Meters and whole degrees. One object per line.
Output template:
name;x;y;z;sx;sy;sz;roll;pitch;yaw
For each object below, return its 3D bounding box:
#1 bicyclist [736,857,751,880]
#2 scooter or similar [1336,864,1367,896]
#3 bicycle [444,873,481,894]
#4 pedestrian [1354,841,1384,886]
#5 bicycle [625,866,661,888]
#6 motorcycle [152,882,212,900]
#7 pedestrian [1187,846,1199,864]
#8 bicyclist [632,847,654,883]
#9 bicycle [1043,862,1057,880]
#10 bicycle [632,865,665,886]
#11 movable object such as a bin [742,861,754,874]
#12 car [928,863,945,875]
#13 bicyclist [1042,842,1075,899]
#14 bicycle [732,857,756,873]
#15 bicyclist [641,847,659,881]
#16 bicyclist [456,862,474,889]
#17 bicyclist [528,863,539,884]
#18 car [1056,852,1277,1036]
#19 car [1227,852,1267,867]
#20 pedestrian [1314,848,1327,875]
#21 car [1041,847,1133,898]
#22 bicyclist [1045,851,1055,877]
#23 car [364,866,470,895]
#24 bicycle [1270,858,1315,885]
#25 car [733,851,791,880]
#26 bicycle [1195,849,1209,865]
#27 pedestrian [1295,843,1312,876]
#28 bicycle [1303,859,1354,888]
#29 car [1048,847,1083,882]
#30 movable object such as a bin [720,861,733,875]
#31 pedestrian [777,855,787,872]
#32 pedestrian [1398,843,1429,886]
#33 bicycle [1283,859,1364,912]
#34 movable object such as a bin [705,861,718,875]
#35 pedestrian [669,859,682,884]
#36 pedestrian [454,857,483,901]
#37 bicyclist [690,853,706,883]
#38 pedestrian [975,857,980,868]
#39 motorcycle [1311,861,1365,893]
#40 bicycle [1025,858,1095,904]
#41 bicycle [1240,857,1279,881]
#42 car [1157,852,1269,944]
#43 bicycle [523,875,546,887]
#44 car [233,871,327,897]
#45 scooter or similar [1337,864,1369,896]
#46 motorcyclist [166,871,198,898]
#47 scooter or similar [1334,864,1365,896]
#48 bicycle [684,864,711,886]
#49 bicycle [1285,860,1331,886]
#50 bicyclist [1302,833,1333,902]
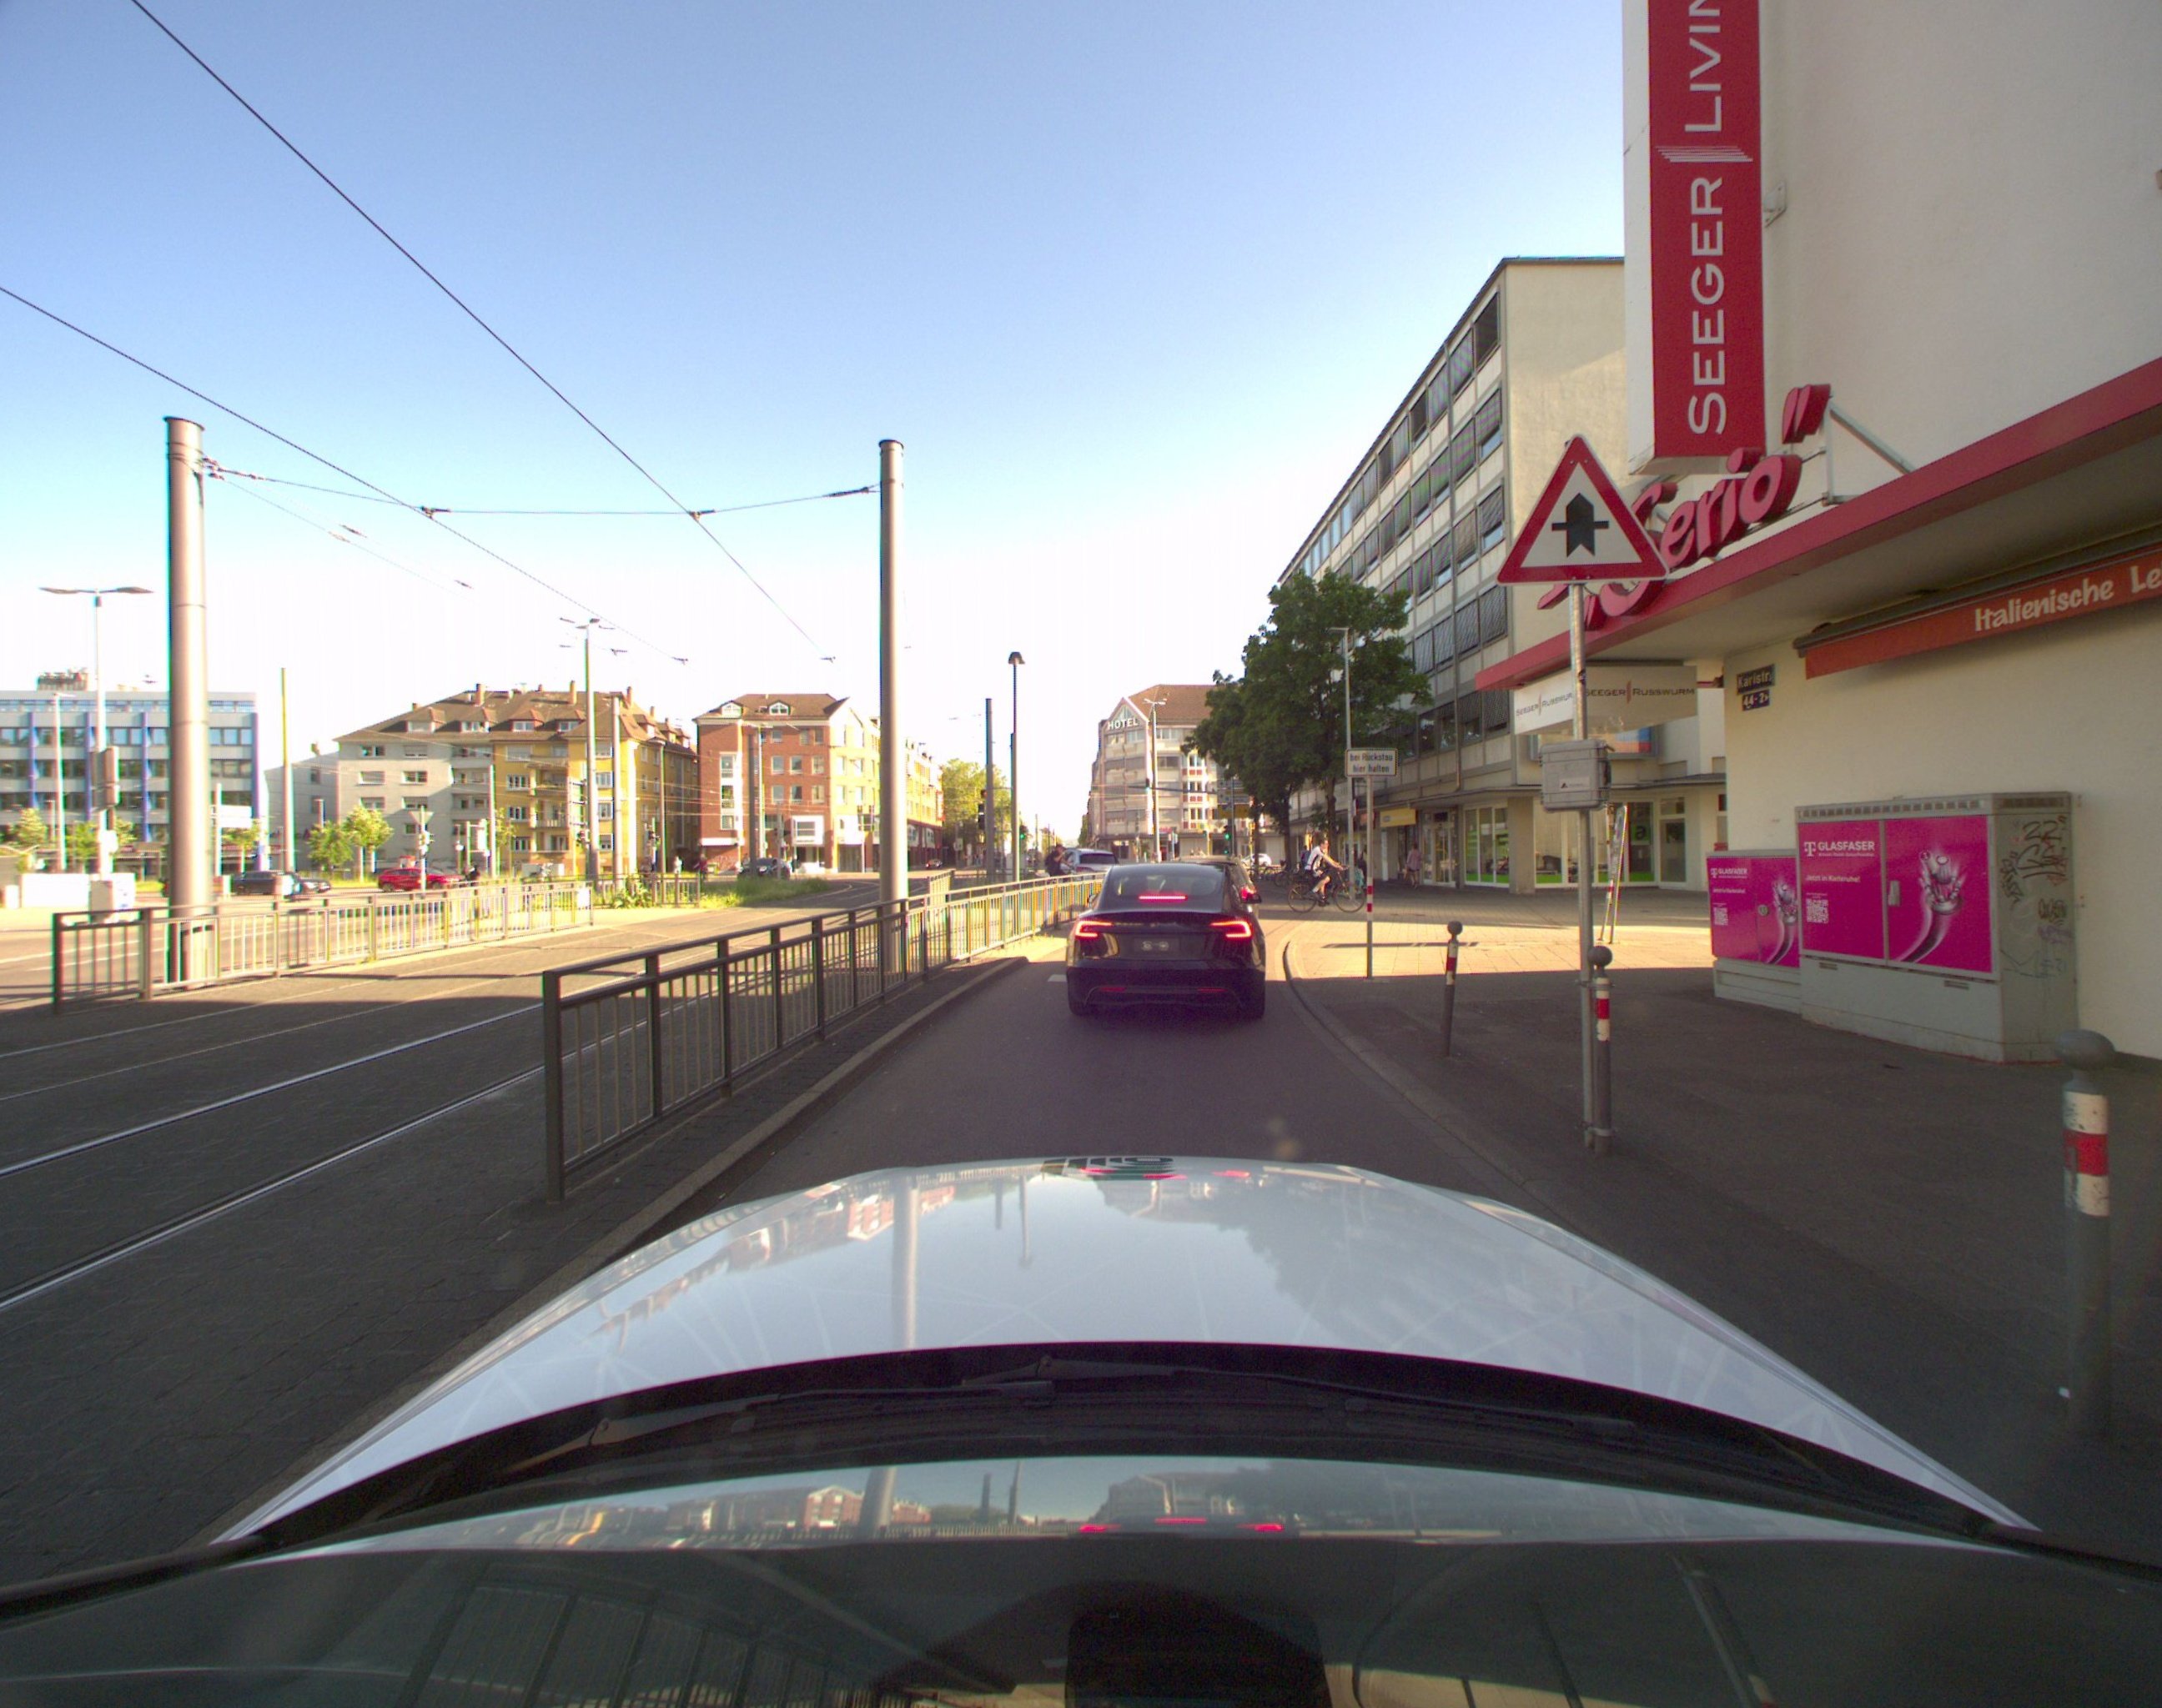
bicyclist;-22.297;0.961;53.734;0.661;1.454;0.731;0;-1;3
scooter or similar;8.958;0.859;27.011;0.952;1.039;0.160;-1;0;4
bicycle;-34.896;1.663;45.966;1.497;1.133;0.609;0;-1;-13
pedestrian;11.268;0.366;31.894;0.840;1.707;0.880;0;-1;1
bicycle;-20.179;1.046;37.578;0.527;1.013;1.899;0;-1;4
motorcycle;-51.739;2.098;46.894;2.355;0.984;0.790;0;-1;-6
pedestrian;9.935;0.095;72.069;0.780;1.576;0.864;0;1;-13
bicyclist;-20.186;0.509;37.540;0.522;1.673;0.771;0;-1;4
bicycle;-2.122;1.127;55.515;0.627;1.223;2.033;0;-1;-11
bicycle;-21.895;1.082;41.273;0.527;1.013;1.887;0;-1;4
movable object such as a bin;-35.982;1.473;88.037;0.995;1.437;1.093;0;-1;-8
car;-20.067;2.085;112.947;1.814;1.454;3.971;-2;0;-4
bicyclist;-0.619;0.444;22.419;0.685;1.523;0.629;0;-1;-29
bicycle;-22.278;0.709;53.867;0.647;1.013;1.887;0;-1;4
bicyclist;-21.896;0.502;41.376;0.518;1.673;0.771;0;-1;3
bicyclist;-34.811;1.204;46.002;0.615;1.493;0.607;0;-1;-12
bicyclist;-35.114;1.269;52.245;0.459;1.316;0.398;0;-1;-14
car;0.876;0.731;8.598;1.782;1.450;3.946;0;1;5
car;17.590;0.613;86.219;3.832;1.432;1.801;-1;-2;-4
pedestrian;12.700;0.417;43.202;0.640;1.422;0.623;-1;-1;12
car;0.128;0.603;27.798;1.848;1.635;3.457;0;-1;-25
bicyclist;-2.120;0.669;55.426;0.612;1.772;0.827;0;-1;-11
car;-39.385;1.541;48.396;4.548;1.509;1.777;-2;0;-9
bicycle;9.147;0.749;35.226;1.805;1.151;0.435;-1;-1;-3
car;-18.526;0.663;47.512;1.678;1.560;4.124;0;-1;2
bicycle;10.752;0.267;72.261;0.583;1.463;1.678;-1;0;-13
pedestrian;11.893;0.304;43.528;0.837;1.721;0.883;-1;-1;13
bicycle;9.501;0.738;31.239;1.850;1.056;0.398;-2;0;-10
car;-0.713;0.496;39.020;1.568;1.618;3.782;0;-1;0
movable object such as a bin;-38.268;1.519;87.924;0.995;1.437;1.093;0;-1;-8
pedestrian;-29.407;0.950;80.199;0.694;1.710;0.928;0;-1;-5
pedestrian;12.518;0.382;30.695;0.840;1.602;0.880;0;-1;1
bicycle;5.809;0.743;19.503;1.805;1.212;0.585;-1;-1;19
movable object such as a bin;-39.770;1.526;87.637;0.995;1.437;1.093;0;-1;-8
pedestrian;-27.628;1.207;55.509;0.624;1.688;0.703;0;1;-11
pedestrian;-27.594;1.114;36.692;0.716;1.934;0.802;-1;-1;22
bicyclist;-21.461;0.773;45.622;0.518;1.673;0.771;0;-1;3
pedestrian;-13.990;1.152;109.621;0.584;1.531;0.634;0;-1;-15
motorcycle;9.175;0.824;29.091;1.781;1.130;0.504;0;-1;-1
bicycle;-0.565;0.720;22.443;1.831;1.212;0.635;0;-1;-29
bicycle;9.292;0.772;42.373;1.882;1.156;0.480;-2;-1;2
car;2.365;0.701;15.261;1.755;1.444;4.537;0;0;7
bicycle;-35.078;1.730;52.236;1.174;0.764;0.318;0;-1;-15
car;-46.395;1.729;47.229;3.695;1.472;1.572;0;-1;-6
scooter or similar;8.944;0.846;26.813;0.959;1.043;0.160;-1;0;4
motorcyclist;-51.759;1.747;46.891;0.919;1.524;0.781;0;-1;-5
scooter or similar;8.973;0.871;27.211;0.959;1.027;0.160;-1;0;4
bicycle;-21.460;1.149;45.564;0.527;1.214;1.887;0;-1;4
bicycle;9.265;0.776;33.245;1.758;1.057;0.459;0;-1;6
bicyclist;5.688;0.331;19.565;0.675;1.631;0.581;-1;-1;19
